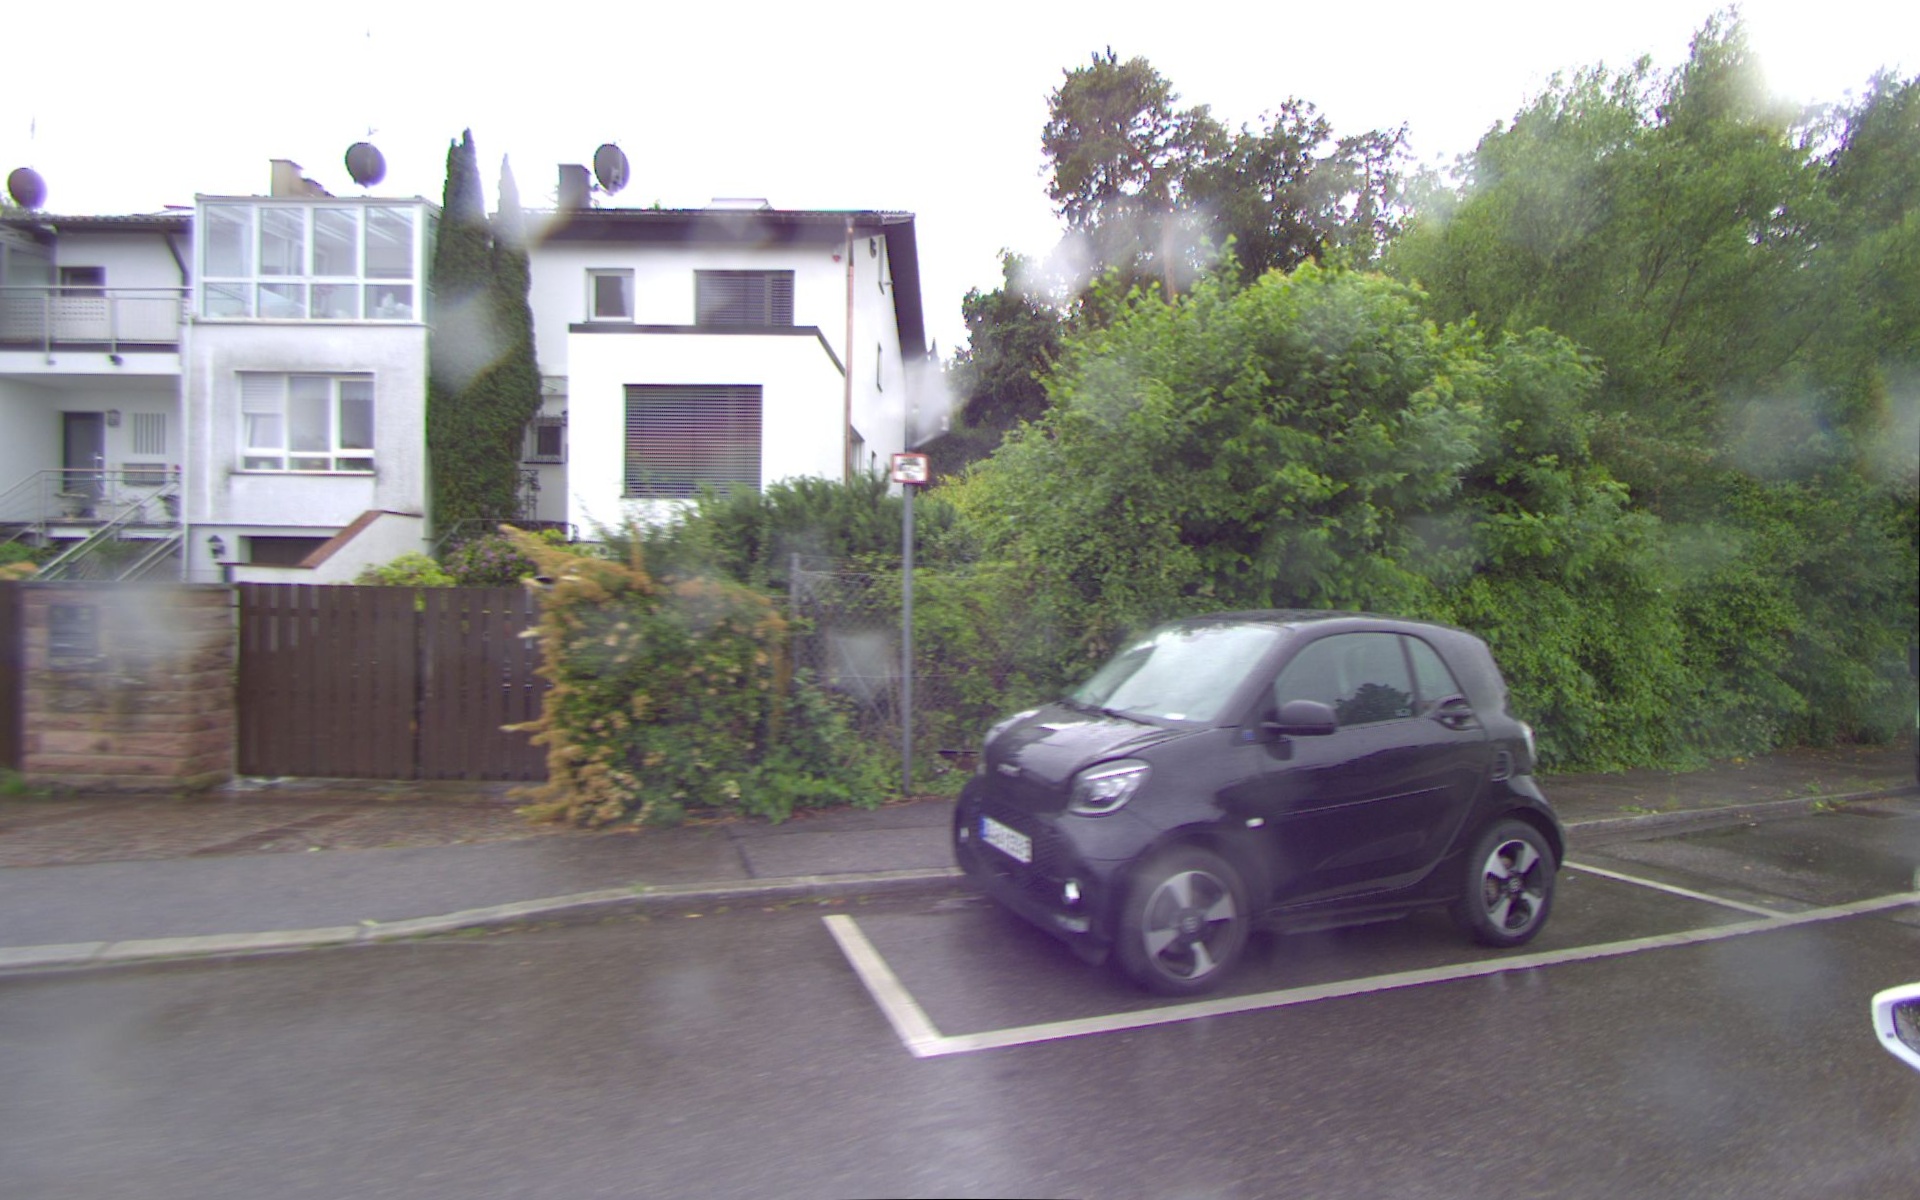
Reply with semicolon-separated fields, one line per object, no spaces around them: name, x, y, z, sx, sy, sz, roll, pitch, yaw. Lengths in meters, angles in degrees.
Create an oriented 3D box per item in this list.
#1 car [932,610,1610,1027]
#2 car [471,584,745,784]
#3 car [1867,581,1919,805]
car;1.507;0.848;5.022;2.901;1.531;1.598;2;-1;-24
car;-3.888;0.818;11.800;1.704;1.975;3.685;0;0;4
car;11.159;0.892;9.697;5.111;2.001;2.102;2;-1;-30
